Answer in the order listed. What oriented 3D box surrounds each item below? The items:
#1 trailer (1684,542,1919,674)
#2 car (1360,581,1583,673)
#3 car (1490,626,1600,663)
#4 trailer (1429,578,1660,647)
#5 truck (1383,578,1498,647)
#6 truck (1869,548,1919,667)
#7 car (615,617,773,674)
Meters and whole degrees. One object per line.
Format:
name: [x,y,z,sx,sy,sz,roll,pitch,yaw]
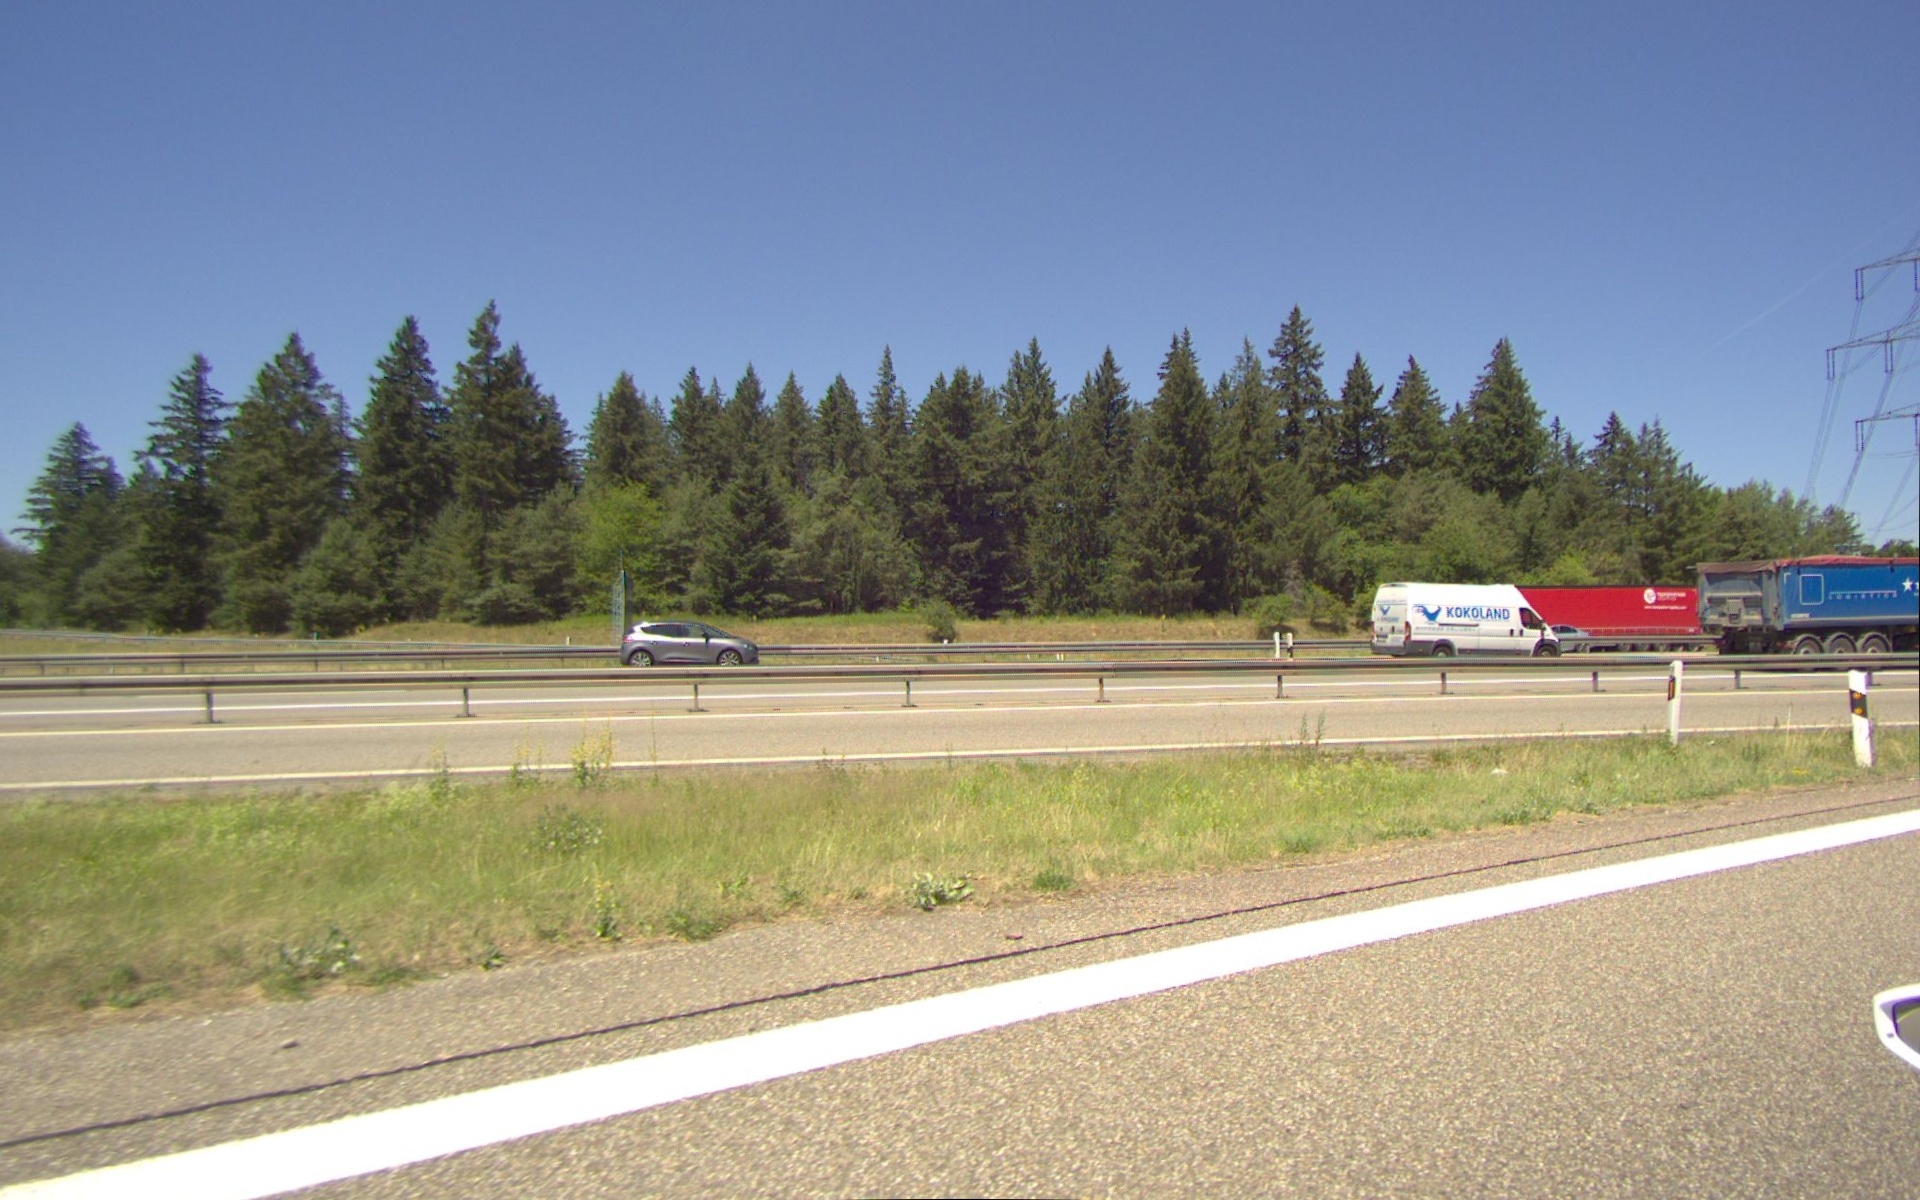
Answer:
trailer: [28.209,0.261,31.905,9.715,3.858,2.773,0,-1,-14]
car: [17.371,0.940,34.187,6.931,2.870,2.241,2,-1,-12]
car: [29.129,2.214,50.061,4.738,1.706,1.775,1,-1,-9]
trailer: [34.624,0.685,59.475,13.497,3.848,2.545,-1,-1,-11]
truck: [27.757,0.720,58.079,5.567,3.848,2.545,-1,-1,-11]
truck: [33.268,0.246,33.134,4.542,3.858,2.758,0,-1,-13]
car: [-8.454,1.461,32.245,4.741,1.706,1.773,2,-1,-13]
